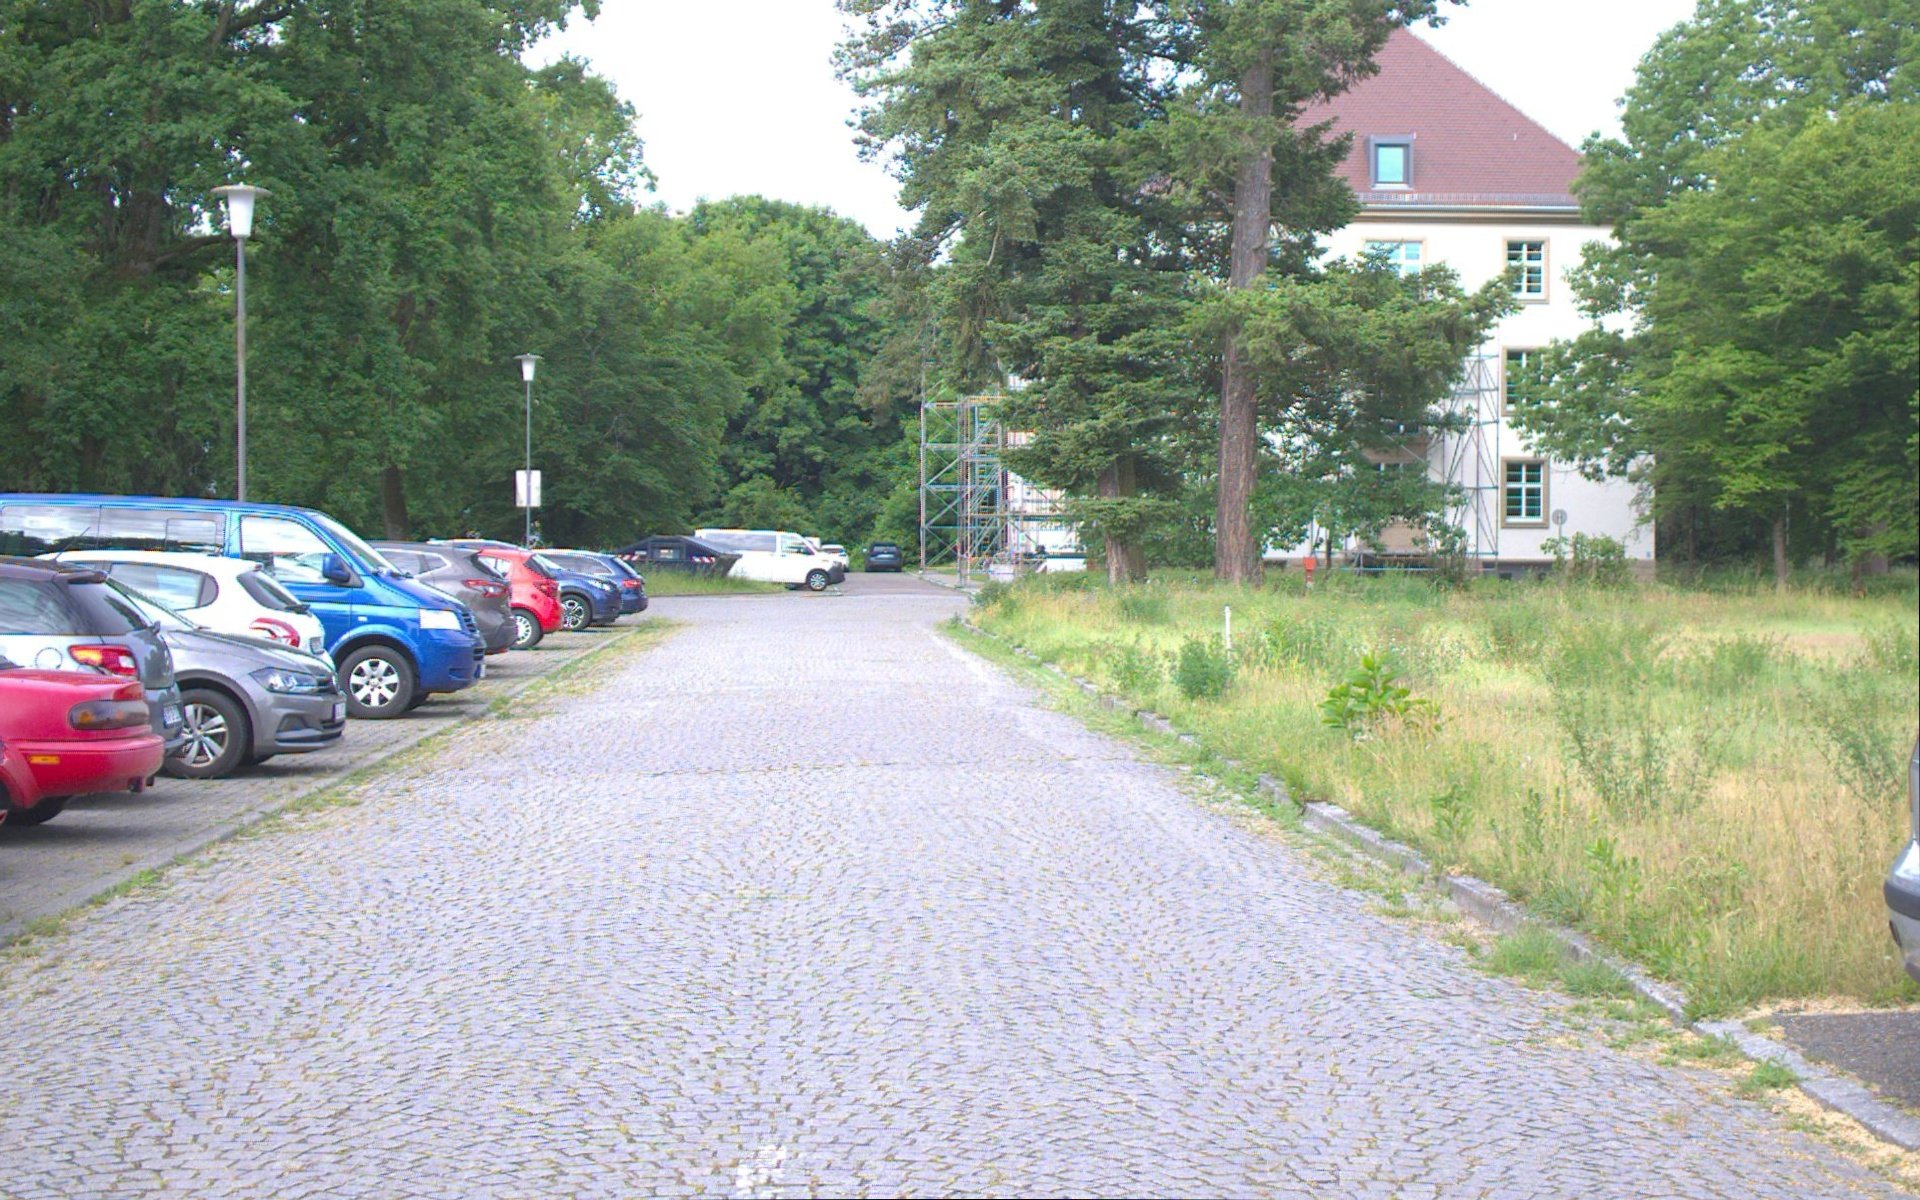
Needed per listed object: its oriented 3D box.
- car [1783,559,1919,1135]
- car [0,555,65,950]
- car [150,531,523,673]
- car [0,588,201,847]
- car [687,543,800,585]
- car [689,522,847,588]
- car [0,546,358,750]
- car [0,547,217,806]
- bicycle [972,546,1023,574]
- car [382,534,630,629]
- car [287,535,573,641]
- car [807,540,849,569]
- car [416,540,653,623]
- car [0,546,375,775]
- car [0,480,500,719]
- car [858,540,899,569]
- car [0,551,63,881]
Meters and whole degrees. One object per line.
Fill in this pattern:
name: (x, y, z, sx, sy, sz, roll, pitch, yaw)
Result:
car: (4.547, 0.578, 9.362, 4.073, 1.510, 1.805, -3, 1, -4)
car: (-5.884, 0.575, 13.375, 4.373, 1.502, 1.936, 0, 1, -4)
car: (-7.310, 0.004, 40.655, 4.165, 1.616, 1.987, 0, 1, -5)
car: (-6.266, 0.577, 18.083, 4.166, 1.262, 1.831, 0, 1, -1)
car: (-7.408, -1.248, 117.458, 3.788, 1.390, 2.000, 0, 1, -5)
car: (-6.431, -1.512, 114.895, 5.234, 2.160, 2.000, 0, 1, -4)
car: (-6.817, 0.341, 26.491, 4.067, 1.492, 1.846, 0, 1, -1)
car: (-6.747, 0.420, 20.720, 4.166, 1.477, 1.846, 0, 1, -1)
bicycle: (1.682, -1.781, 153.990, 2.240, 1.250, 0.634, 0, 1, 0)
car: (-8.050, -0.339, 61.289, 4.227, 1.571, 1.887, 1, 1, -4)
car: (-7.820, -0.196, 51.015, 4.054, 1.520, 1.905, 0, 1, -4)
car: (-6.973, -2.390, 180.918, 2.118, 1.516, 4.001, 0, 1, -4)
car: (-8.137, -0.376, 65.985, 4.302, 1.456, 1.975, 1, 1, -1)
car: (-6.240, 0.379, 23.552, 4.166, 1.486, 1.865, 0, 1, -1)
car: (-6.742, -0.023, 31.785, 4.781, 2.115, 2.115, 0, 1, -3)
car: (-4.309, -2.394, 181.311, 1.951, 1.516, 4.001, 0, 1, -4)
car: (-6.402, 0.507, 15.702, 4.165, 1.471, 1.865, 0, 1, -3)
